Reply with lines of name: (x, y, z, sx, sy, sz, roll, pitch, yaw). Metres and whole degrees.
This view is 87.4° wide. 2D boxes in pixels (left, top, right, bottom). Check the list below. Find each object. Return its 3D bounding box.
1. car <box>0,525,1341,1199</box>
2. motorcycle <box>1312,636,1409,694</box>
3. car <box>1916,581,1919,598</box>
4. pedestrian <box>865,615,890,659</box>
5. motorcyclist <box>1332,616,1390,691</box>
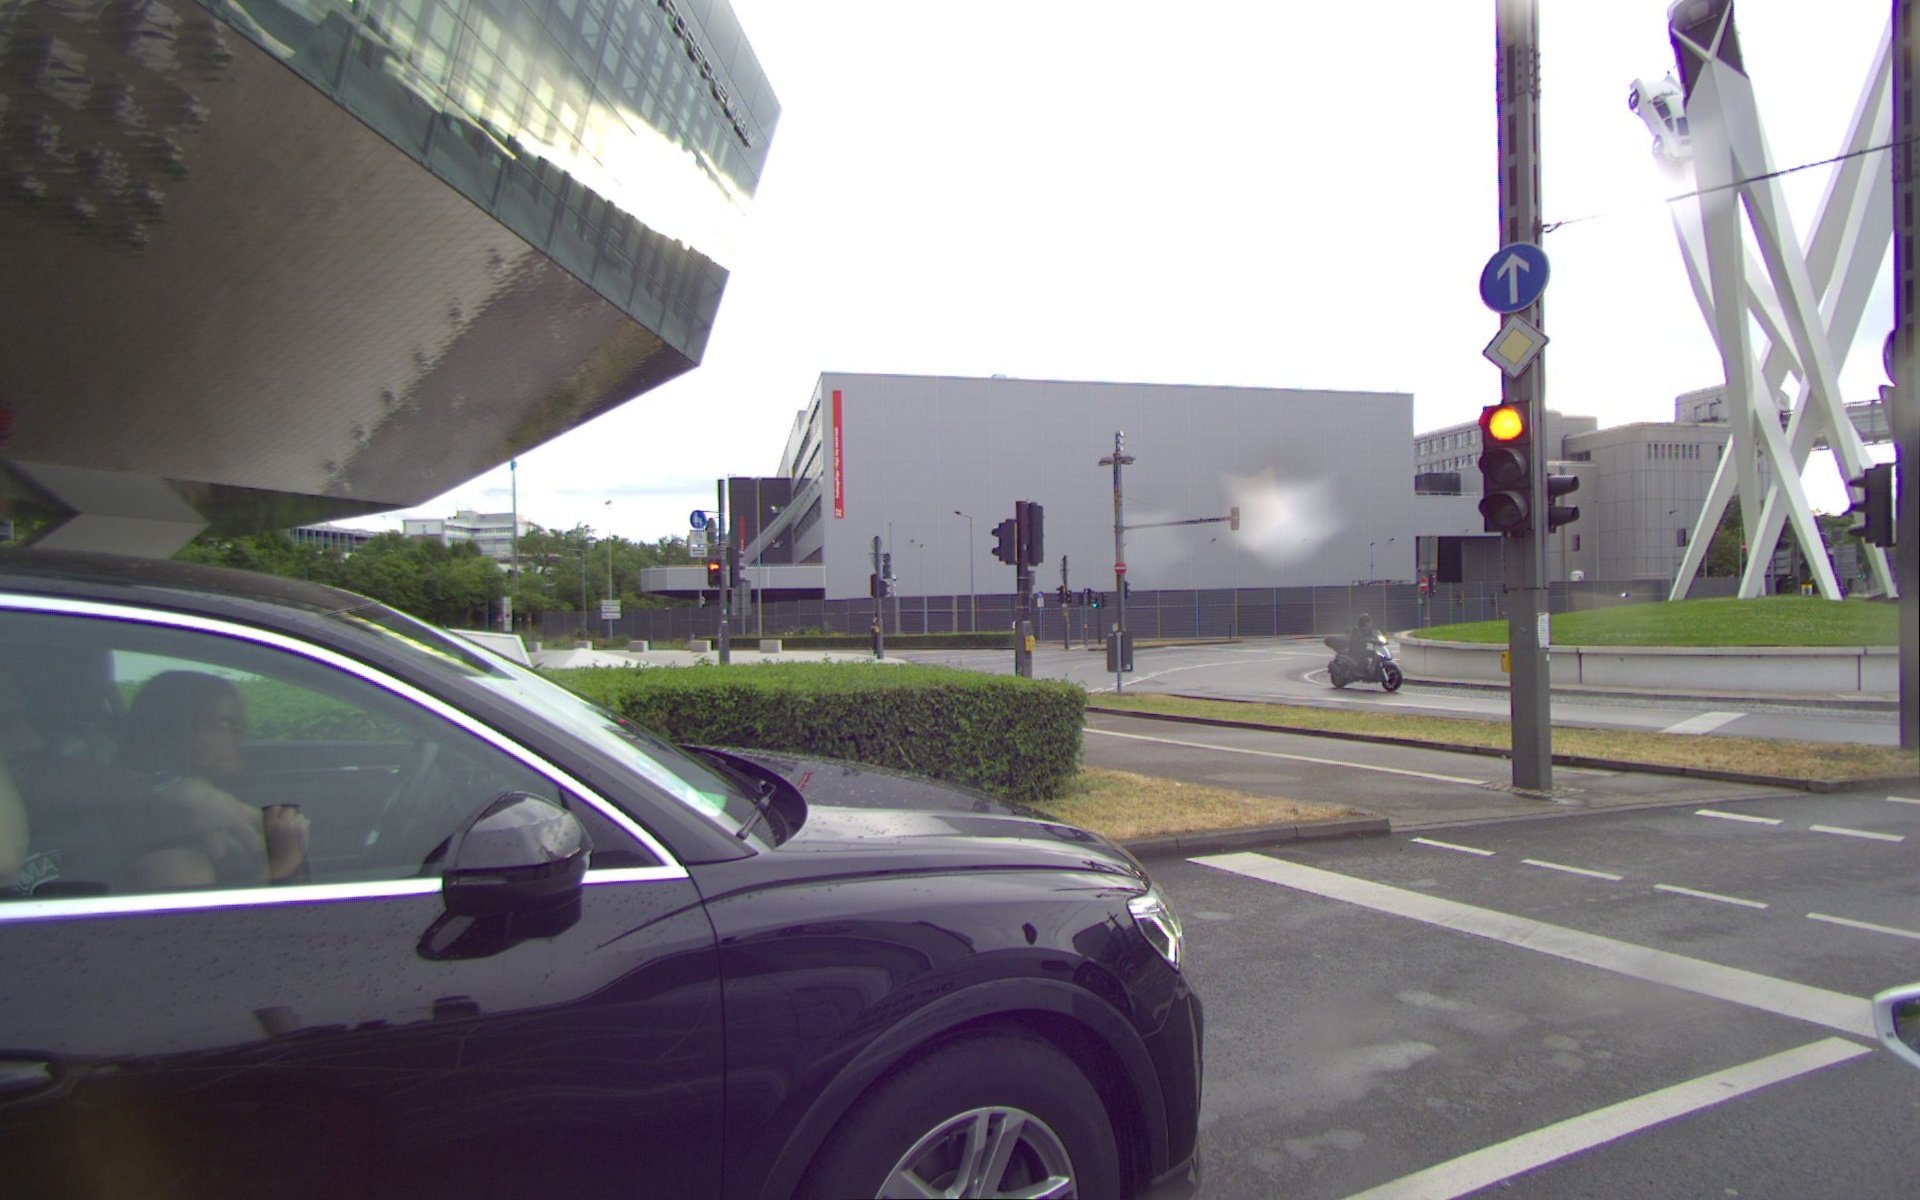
car: (-1.490, 0.684, 1.799, 4.344, 1.538, 1.743, 2, 0, -31)
motorcycle: (8.982, 1.432, 22.647, 0.445, 1.208, 2.248, 0, -1, -30)
car: (122.863, -1.248, 126.954, 3.953, 2.040, 1.984, 2, 0, -30)
pedestrian: (-3.534, 1.565, 42.989, 0.638, 1.827, 0.851, 0, 0, 35)
motorcyclist: (9.041, 1.179, 22.671, 0.663, 1.644, 1.026, 0, 0, -32)
